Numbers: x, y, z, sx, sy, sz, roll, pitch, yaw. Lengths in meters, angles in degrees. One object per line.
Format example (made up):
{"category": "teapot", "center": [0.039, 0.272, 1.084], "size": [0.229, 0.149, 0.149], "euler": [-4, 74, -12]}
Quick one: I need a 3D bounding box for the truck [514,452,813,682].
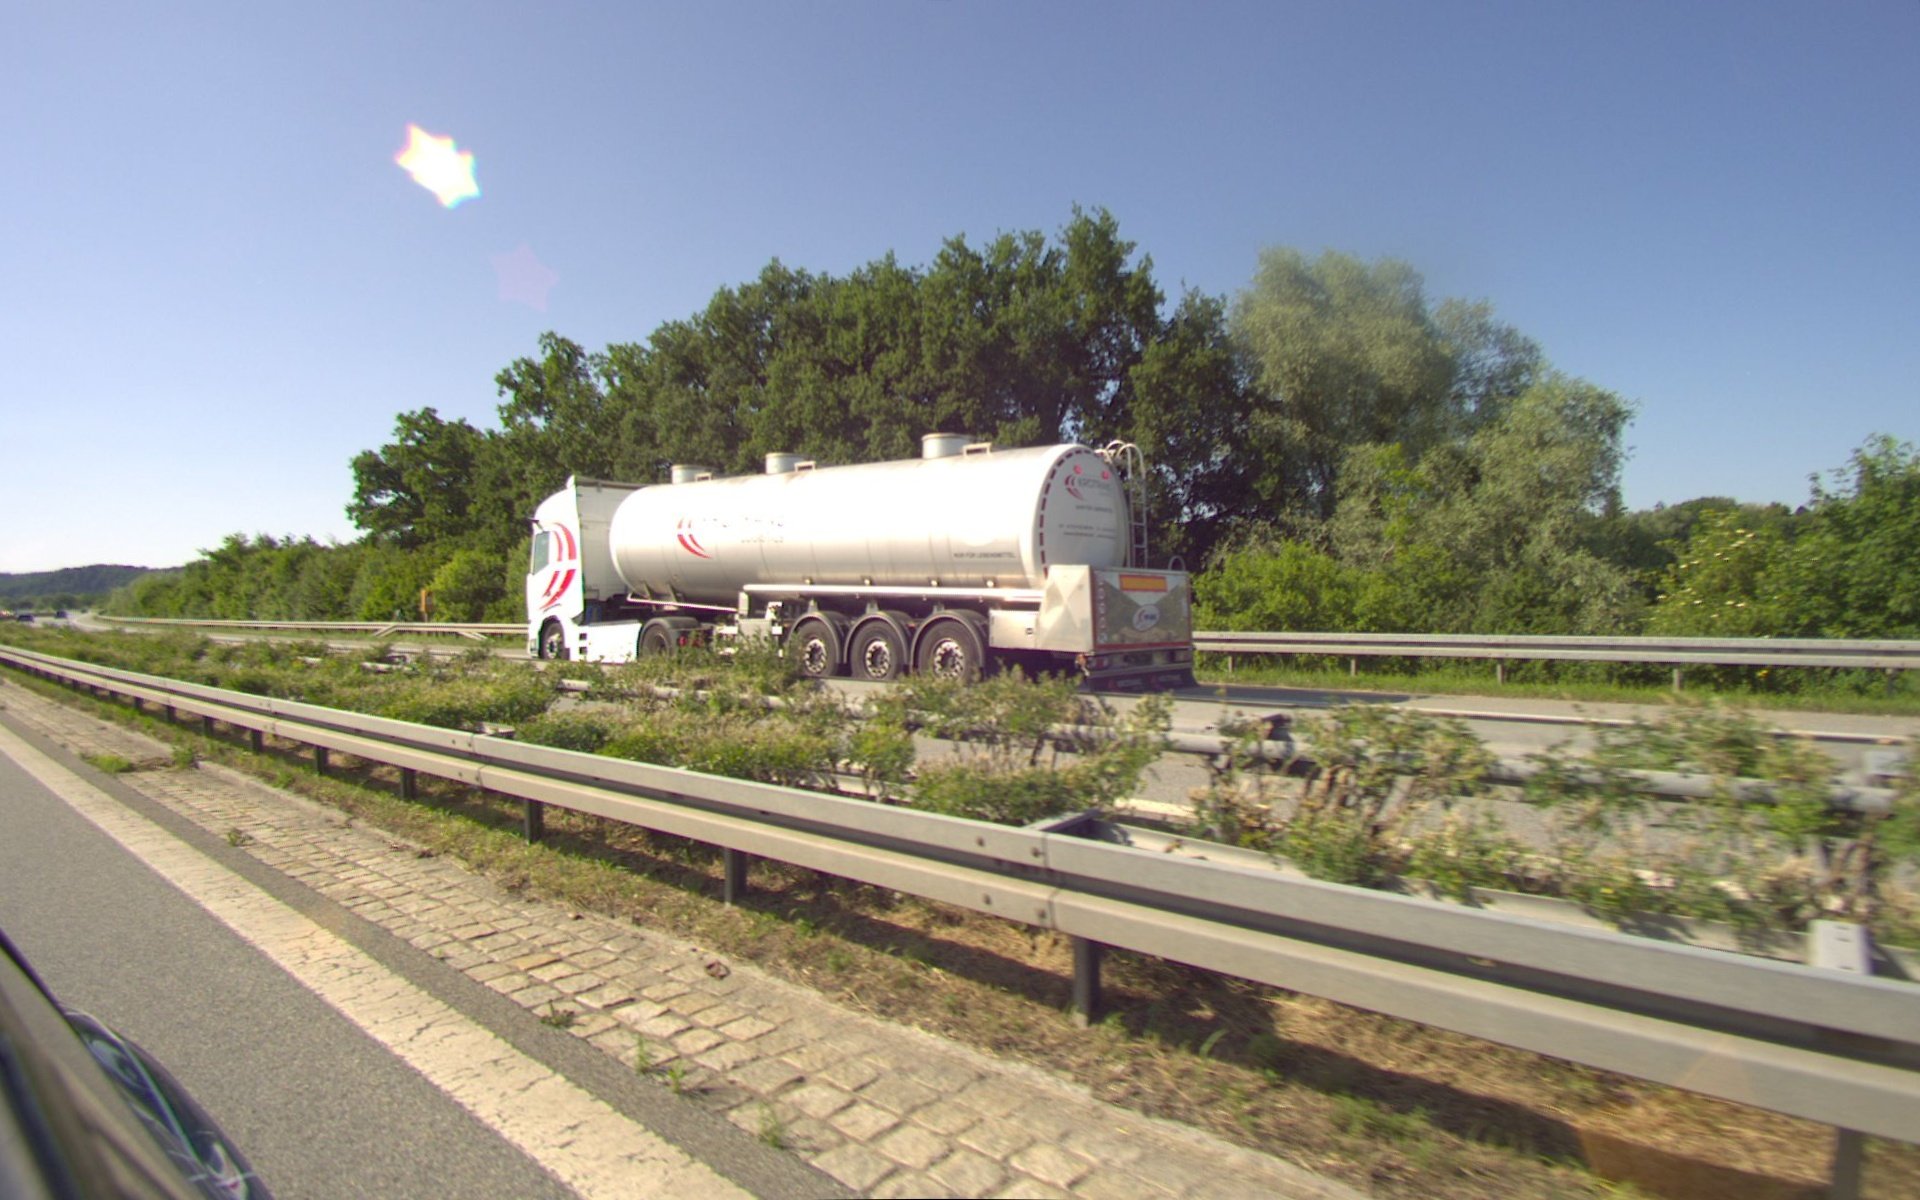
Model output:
{"category": "truck", "center": [-5.835, -0.484, 19.452], "size": [5.968, 3.755, 2.713], "euler": [-1, -1, 41]}

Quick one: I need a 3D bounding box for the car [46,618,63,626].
{"category": "car", "center": [-161.387, 3.990, 180.396], "size": [4.488, 1.443, 1.971], "euler": [-1, -2, 45]}

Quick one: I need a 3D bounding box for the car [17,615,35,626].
{"category": "car", "center": [-123.290, 2.732, 133.616], "size": [1.708, 1.439, 3.886], "euler": [1, -1, -42]}

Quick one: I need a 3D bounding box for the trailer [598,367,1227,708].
{"category": "trailer", "center": [-1.530, -0.598, 15.722], "size": [10.906, 3.755, 2.713], "euler": [-1, -1, 41]}
